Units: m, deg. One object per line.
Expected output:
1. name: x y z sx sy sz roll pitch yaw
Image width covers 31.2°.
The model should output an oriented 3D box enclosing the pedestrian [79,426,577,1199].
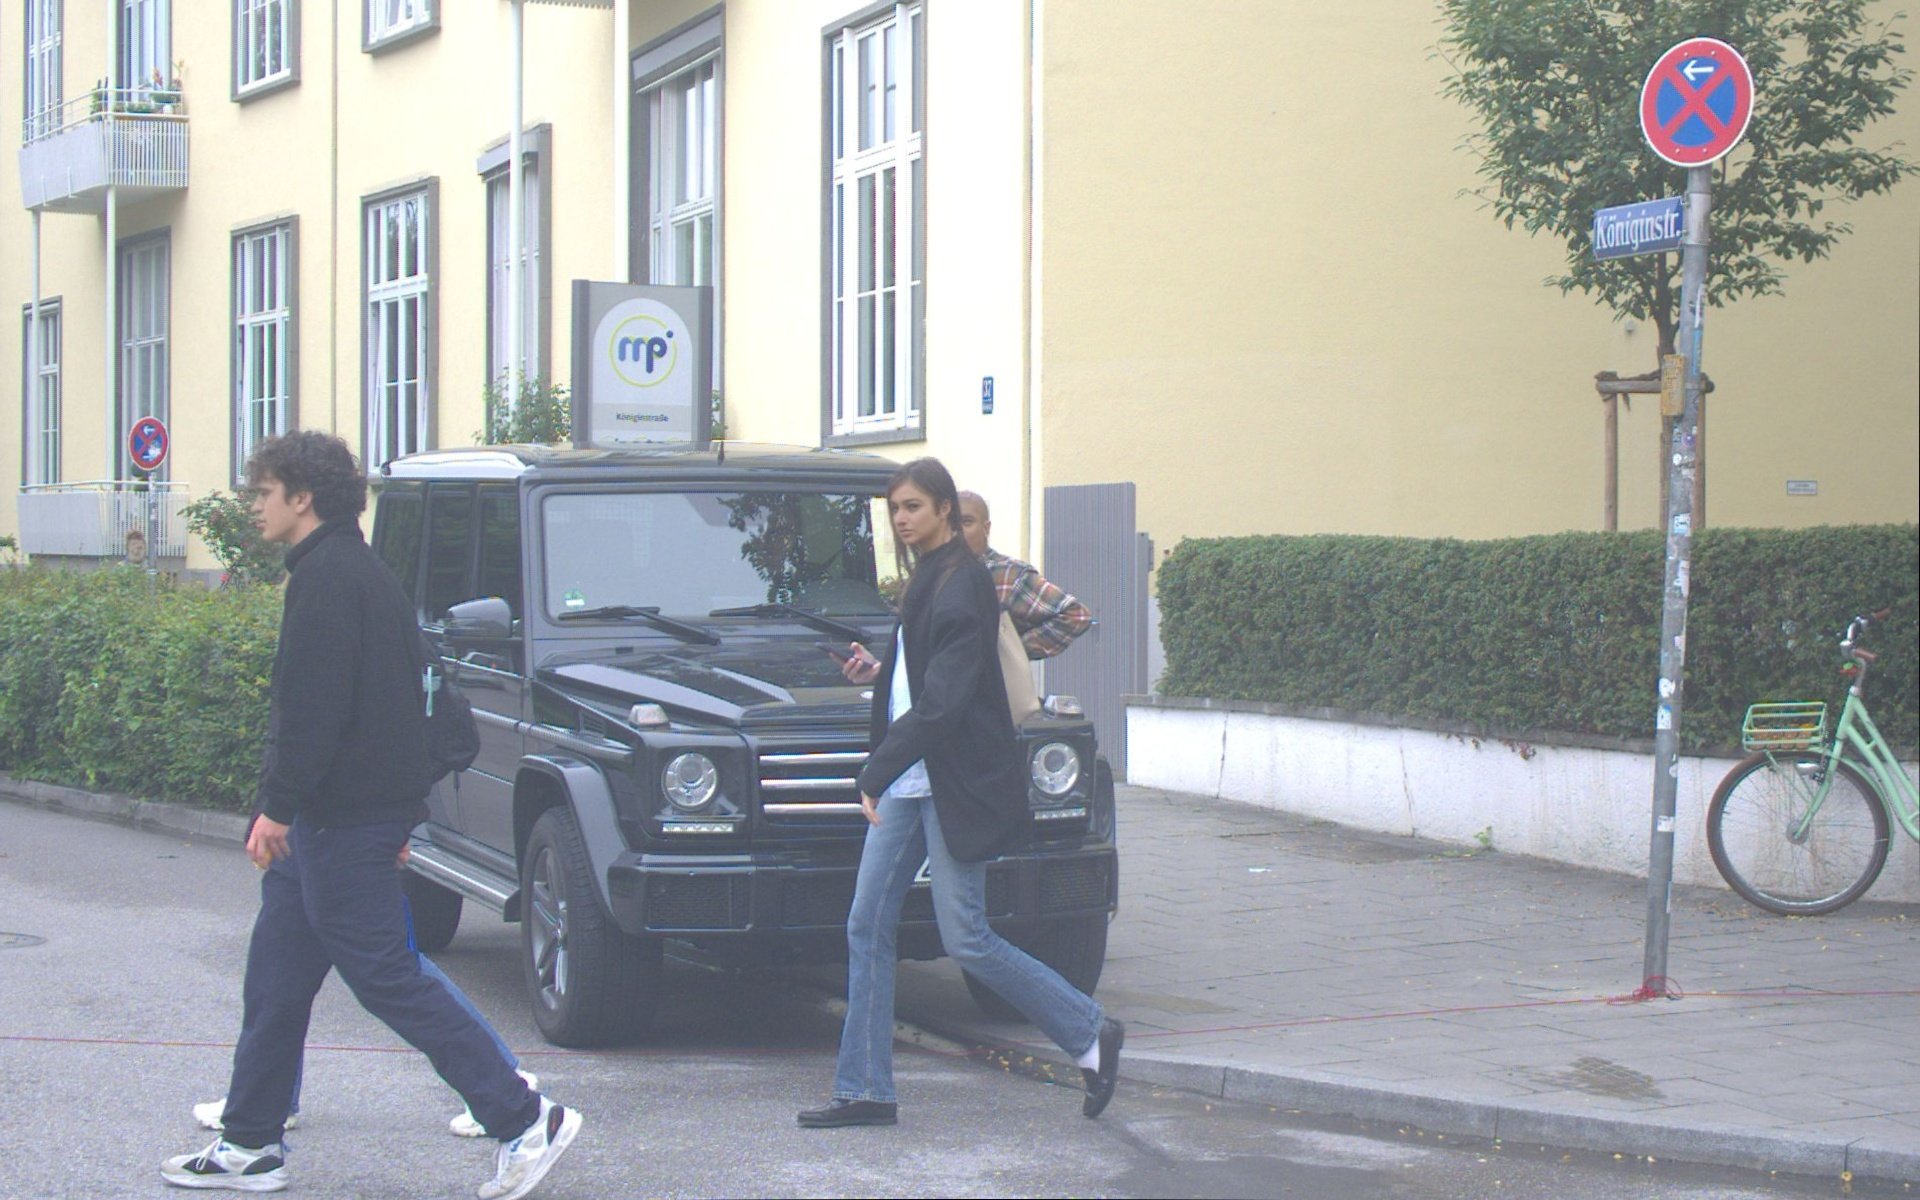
1. pedestrian: -1.454 0.512 8.030 0.990 1.803 0.659 0 1 5

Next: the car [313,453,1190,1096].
1. car: -0.989 0.461 12.531 1.873 1.881 4.620 -1 1 -21

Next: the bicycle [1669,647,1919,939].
1. bicycle: 3.720 0.719 13.030 1.947 1.081 0.528 -2 -1 36

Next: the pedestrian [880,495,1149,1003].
1. pedestrian: 0.180 0.507 12.429 0.848 1.751 0.954 -1 1 -6

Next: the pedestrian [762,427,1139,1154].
1. pedestrian: -0.041 0.482 9.267 0.850 1.851 0.767 -1 1 -11

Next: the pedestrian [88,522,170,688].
1. pedestrian: -8.571 0.044 35.442 0.631 1.678 0.698 -2 1 -28

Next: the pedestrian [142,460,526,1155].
1. pedestrian: -1.619 0.514 8.994 0.826 1.740 0.740 0 1 4
